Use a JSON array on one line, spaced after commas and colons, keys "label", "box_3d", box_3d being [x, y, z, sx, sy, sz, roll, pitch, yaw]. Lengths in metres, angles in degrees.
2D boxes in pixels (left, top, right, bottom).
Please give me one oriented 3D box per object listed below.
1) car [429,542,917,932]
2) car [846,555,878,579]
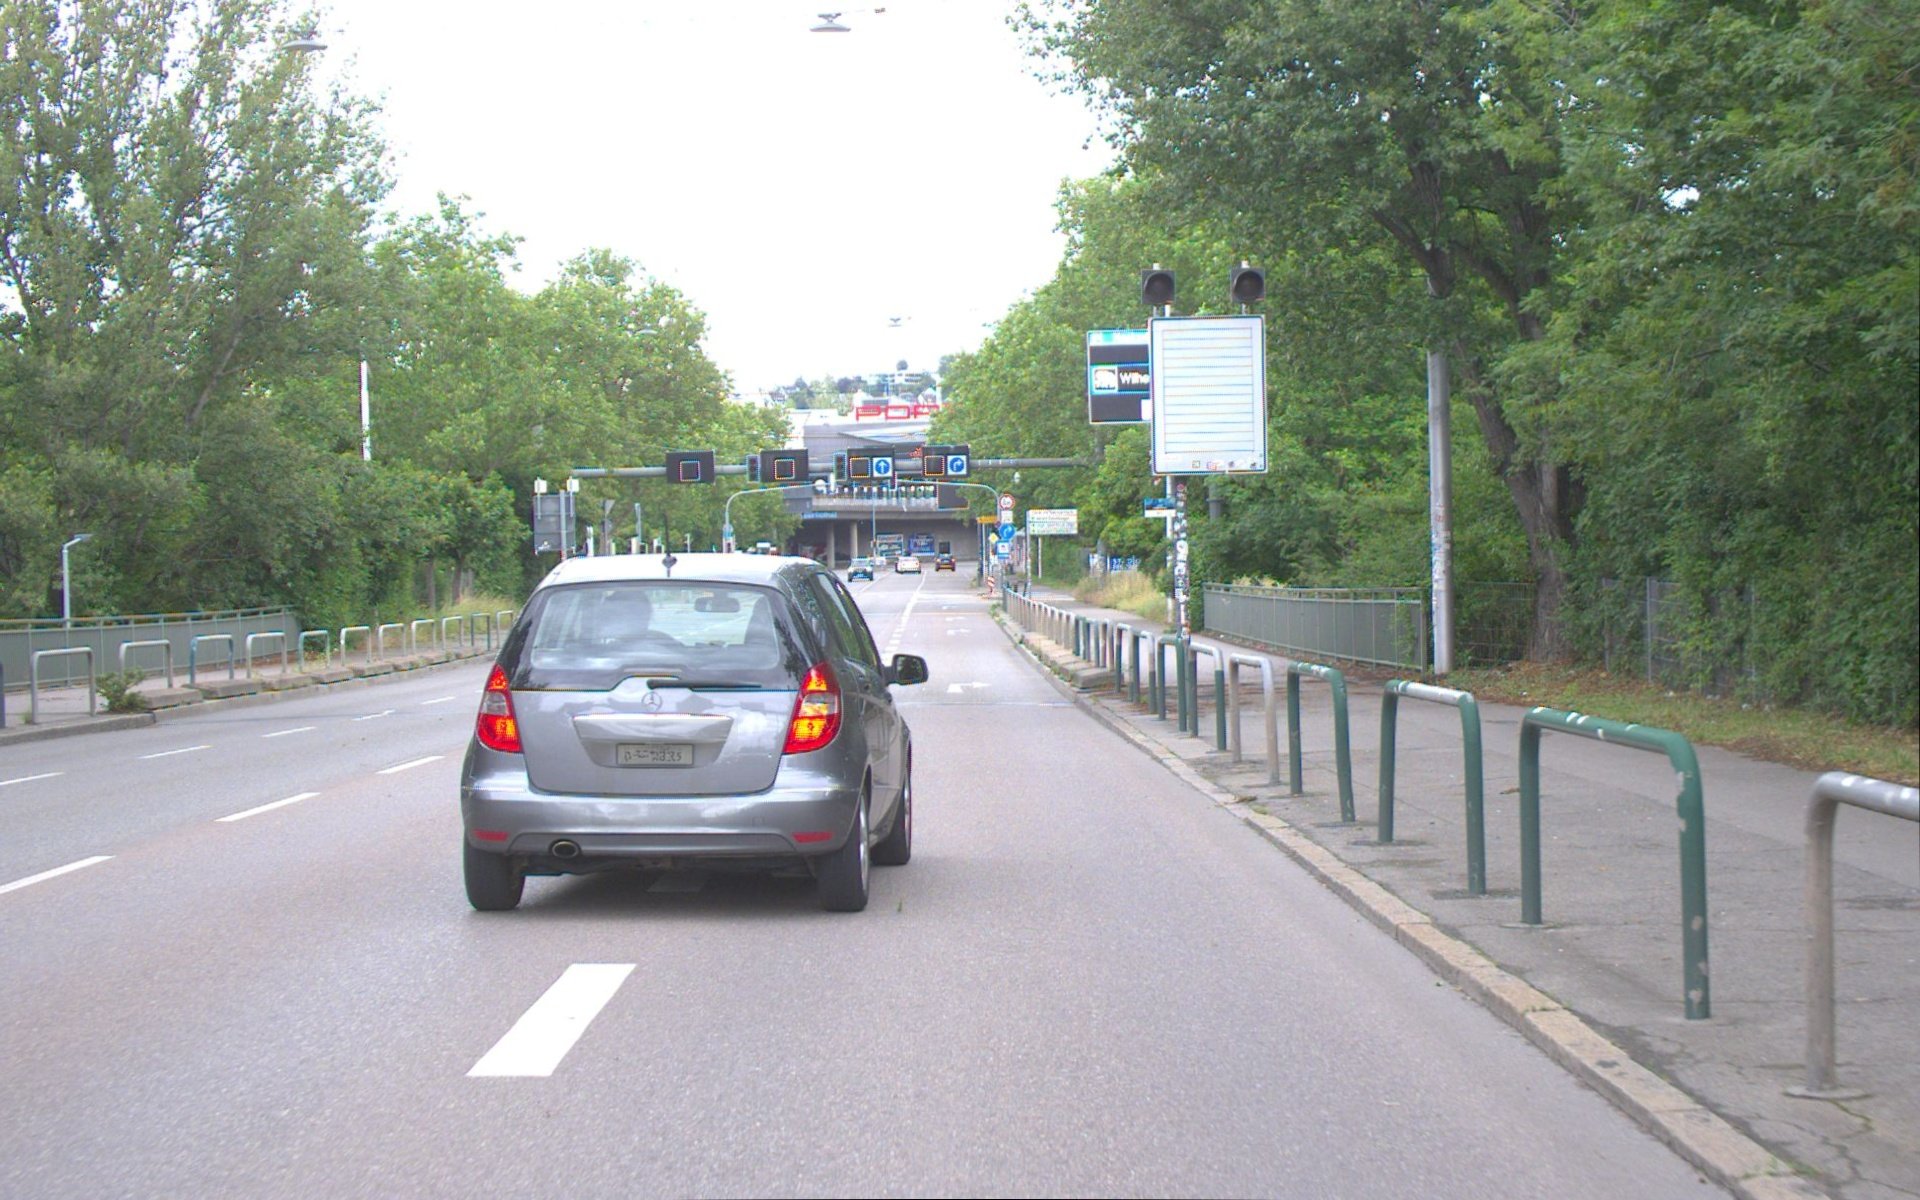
[{"label": "car", "box_3d": [-1.221, 0.566, 16.306, 1.826, 1.611, 4.034, 0, 0, 2]}, {"label": "car", "box_3d": [-7.321, -2.480, 256.642, 1.994, 1.654, 4.517, -3, 1, 3]}]
